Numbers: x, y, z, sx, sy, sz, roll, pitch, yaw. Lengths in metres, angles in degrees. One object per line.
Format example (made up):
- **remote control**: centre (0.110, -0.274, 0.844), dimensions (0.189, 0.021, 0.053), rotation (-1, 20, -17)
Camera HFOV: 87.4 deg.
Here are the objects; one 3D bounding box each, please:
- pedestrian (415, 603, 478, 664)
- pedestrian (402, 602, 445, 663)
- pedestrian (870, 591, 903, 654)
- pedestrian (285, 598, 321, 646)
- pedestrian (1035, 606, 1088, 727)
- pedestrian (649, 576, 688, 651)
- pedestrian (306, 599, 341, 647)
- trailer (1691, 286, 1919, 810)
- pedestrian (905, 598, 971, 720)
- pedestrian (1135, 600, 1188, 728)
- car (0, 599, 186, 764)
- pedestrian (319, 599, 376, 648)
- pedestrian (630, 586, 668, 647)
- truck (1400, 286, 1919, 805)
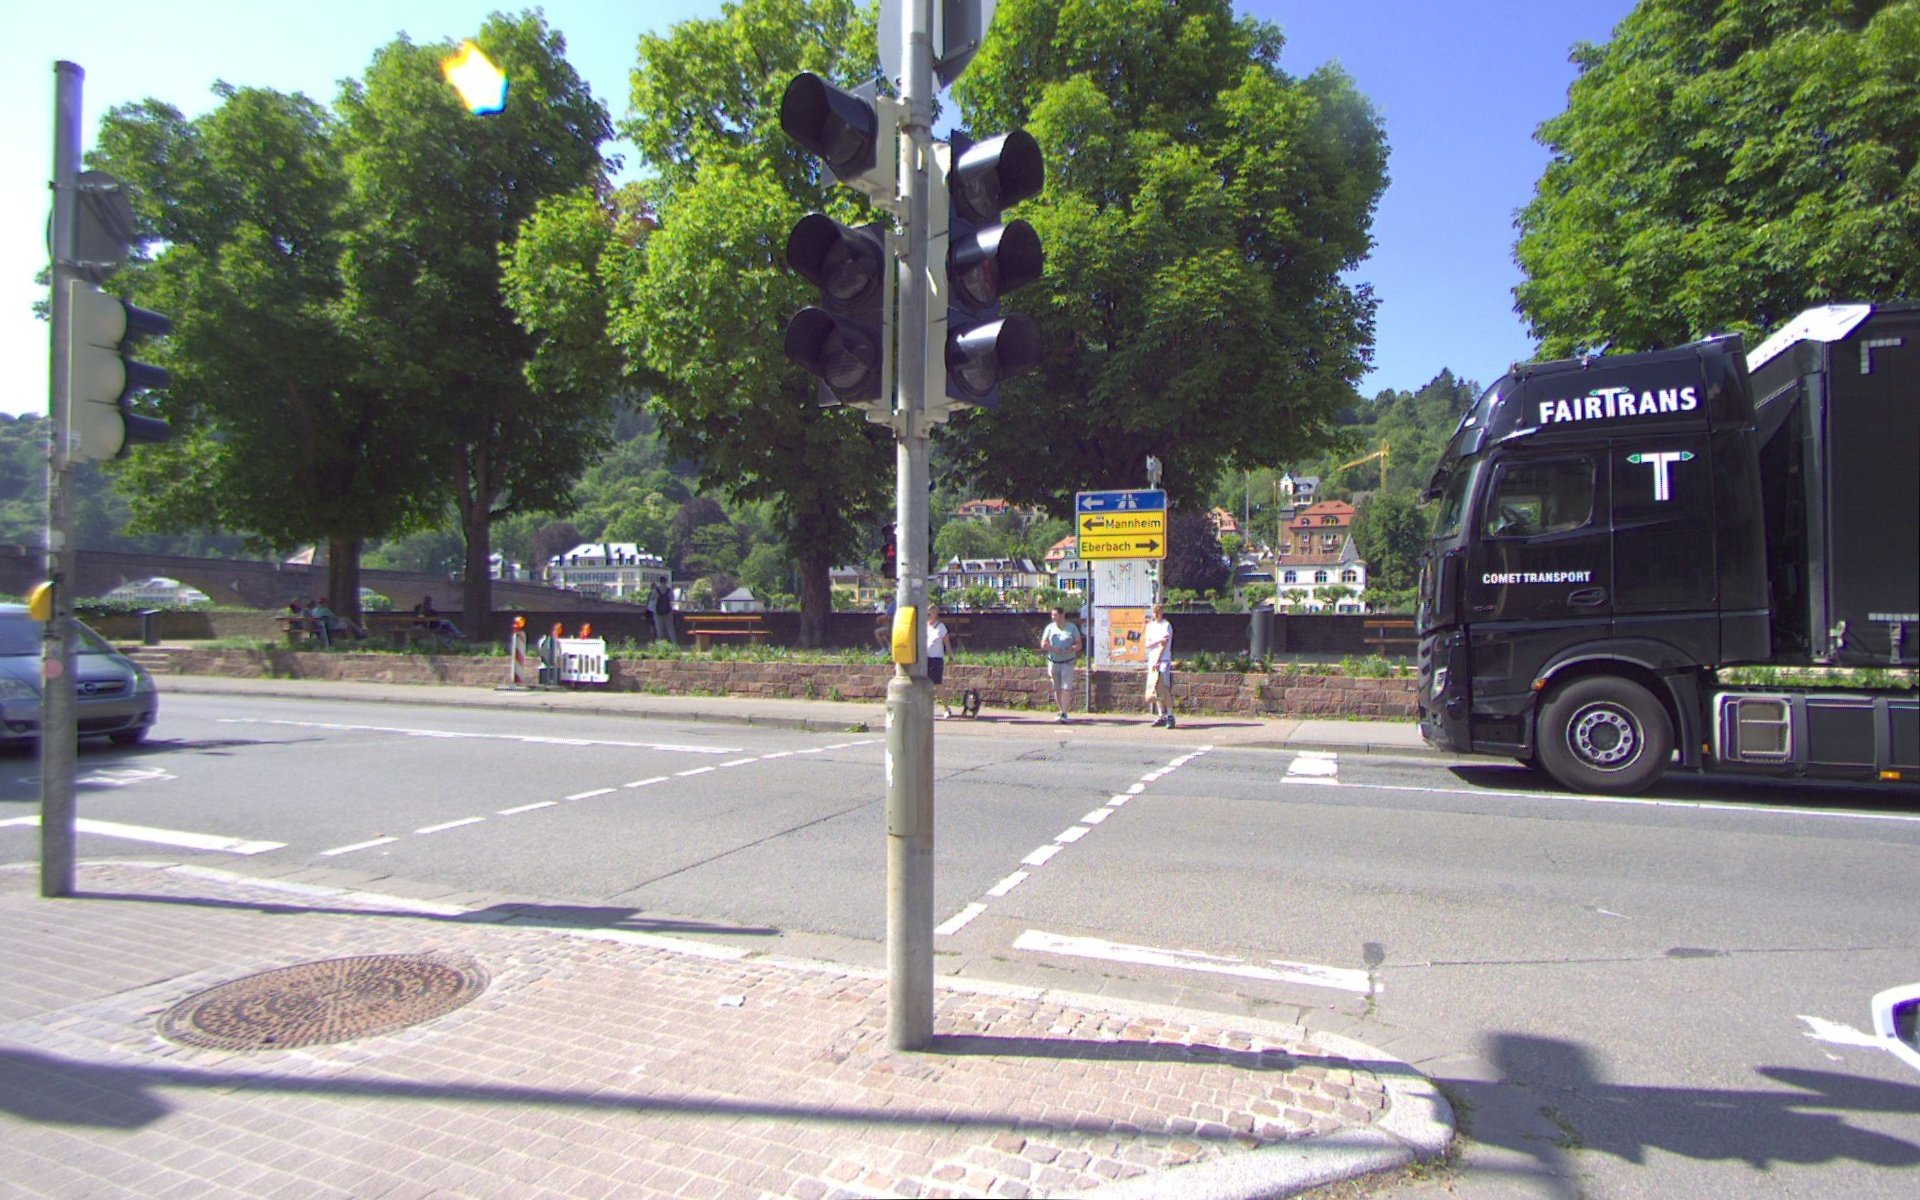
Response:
- **pedestrian**: centre (-12.981, 0.862, 25.412), dimensions (0.460, 1.499, 1.384), rotation (0, -2, 25)
- **pedestrian**: centre (-13.571, 0.833, 25.412), dimensions (0.460, 1.512, 0.804), rotation (0, -2, 25)
- **pedestrian**: centre (-1.490, 0.468, 20.422), dimensions (0.631, 1.244, 0.414), rotation (-1, -4, -1)
- **pedestrian**: centre (-17.801, 0.598, 27.233), dimensions (0.460, 1.287, 0.631), rotation (0, -2, 26)
- **pedestrian**: centre (1.537, 1.001, 15.307), dimensions (0.703, 1.793, 0.690), rotation (1, -2, -3)
- **pedestrian**: centre (-7.481, 0.368, 25.829), dimensions (0.750, 1.882, 0.756), rotation (2, -2, -4)
- **pedestrian**: centre (-17.016, 0.619, 26.858), dimensions (0.460, 1.287, 0.631), rotation (0, -2, 26)
- **trailer**: centre (13.751, -0.369, 7.118), dimensions (13.502, 4.157, 2.843), rotation (0, -3, 21)
- **pedestrian**: centre (-0.349, 0.911, 15.838), dimensions (0.625, 1.826, 0.720), rotation (7, 5, 42)
- **pedestrian**: centre (2.967, 0.930, 14.762), dimensions (0.691, 1.825, 0.580), rotation (0, -2, 19)
- **car**: centre (-10.911, 0.810, 11.344), dimensions (3.665, 1.632, 1.693), rotation (0, -1, 19)
- **pedestrian**: centre (-16.398, 0.643, 26.914), dimensions (0.460, 1.287, 1.223), rotation (0, -2, 25)
- **pedestrian**: centre (-9.042, 0.494, 29.251), dimensions (0.696, 1.754, 0.757), rotation (1, -2, 17)
- **truck**: centre (7.431, -0.361, 9.526), dimensions (5.816, 4.124, 2.840), rotation (0, -3, 21)
